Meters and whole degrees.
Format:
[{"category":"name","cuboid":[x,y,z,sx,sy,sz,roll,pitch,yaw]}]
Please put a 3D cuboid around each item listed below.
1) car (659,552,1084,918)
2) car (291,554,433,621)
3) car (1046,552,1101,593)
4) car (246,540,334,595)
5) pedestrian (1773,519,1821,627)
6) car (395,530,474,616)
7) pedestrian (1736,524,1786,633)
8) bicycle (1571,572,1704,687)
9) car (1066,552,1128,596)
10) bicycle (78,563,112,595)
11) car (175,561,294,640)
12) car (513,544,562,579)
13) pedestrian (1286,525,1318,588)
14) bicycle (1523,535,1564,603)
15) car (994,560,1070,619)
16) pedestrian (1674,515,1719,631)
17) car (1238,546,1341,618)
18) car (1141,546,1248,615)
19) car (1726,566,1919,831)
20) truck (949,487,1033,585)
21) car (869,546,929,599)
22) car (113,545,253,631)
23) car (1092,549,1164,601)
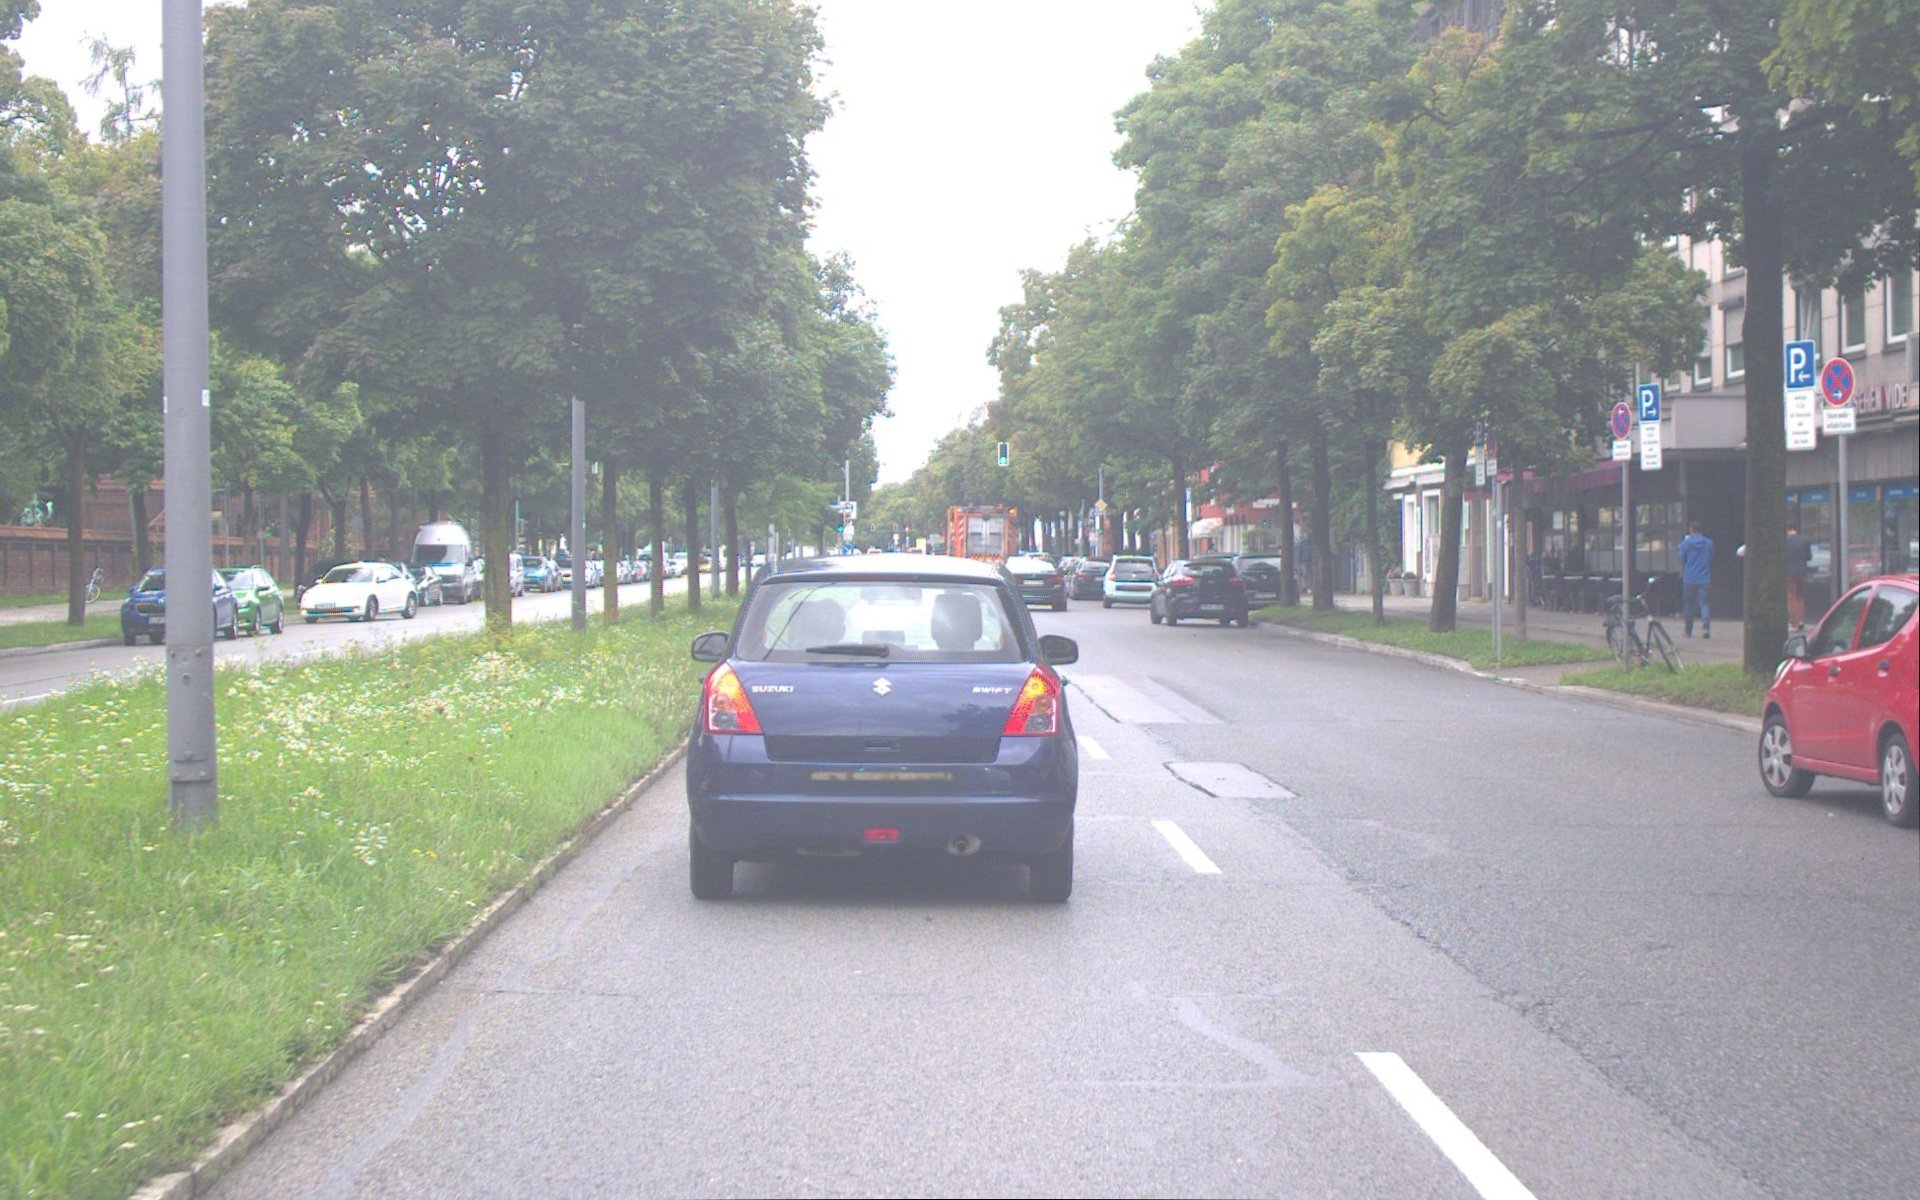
[{"category":"car","cuboid":[-0.367,0.530,16.184,1.753,1.499,4.000,0,1,0]},{"category":"car","cuboid":[-15.335,-0.346,88.348,1.762,1.532,4.311,-3,1,17]},{"category":"car","cuboid":[4.139,-1.020,125.918,1.653,1.447,4.001,0,1,-3]},{"category":"car","cuboid":[-19.333,-0.953,99.372,1.813,1.531,4.299,0,1,-2]},{"category":"pedestrian","cuboid":[12.709,-0.411,52.239,0.541,1.635,0.724,0,1,-1]},{"category":"car","cuboid":[-18.486,-0.964,121.181,2.185,2.943,6.193,0,1,-3]},{"category":"pedestrian","cuboid":[12.128,-0.334,52.066,0.549,1.624,0.641,-2,1,-1]},{"category":"bicycle","cuboid":[7.666,0.316,38.985,0.454,1.251,2.150,-1,1,-19]},{"category":"car","cuboid":[4.583,-0.890,115.482,1.653,1.447,4.709,0,1,-3]},{"category":"bicycle","cuboid":[-25.258,-0.616,100.422,0.655,0.933,1.620,0,1,-3]},{"category":"car","cuboid":[-15.443,-0.025,73.369,1.638,1.532,4.315,-3,1,-1]},{"category":"car","cuboid":[-18.749,-1.712,152.643,1.706,1.529,4.000,0,1,-1]},{"category":"pedestrian","cuboid":[10.355,-1.318,104.042,0.792,1.849,0.777,-2,1,-3]},{"category":"bicycle","cuboid":[12.769,-0.680,75.224,0.580,1.458,1.688,0,1,-1]},{"category":"car","cuboid":[1.920,-0.312,92.919,1.821,1.472,4.691,2,1,-1]},{"category":"pedestrian","cuboid":[11.116,-0.413,51.903,0.499,1.727,0.733,0,1,-1]},{"category":"car","cuboid":[7.804,-0.446,81.823,1.993,1.637,4.333,0,1,-1]},{"category":"car","cuboid":[5.039,-0.437,74.420,1.993,1.447,4.000,0,1,-1]},{"category":"car","cuboid":[5.945,0.523,20.970,1.521,1.436,4.000,0,1,-2]},{"category":"truck","cuboid":[1.112,-2.453,131.769,3.041,3.545,13.675,0,1,0]},{"category":"car","cuboid":[-1.798,-0.827,100.641,1.718,1.495,4.301,0,1,-1]},{"category":"car","cuboid":[-15.259,-0.264,67.676,1.886,1.532,4.315,-3,1,-3]},{"category":"car","cuboid":[4.821,-0.731,98.964,1.653,1.447,4.001,0,1,-3]}]
